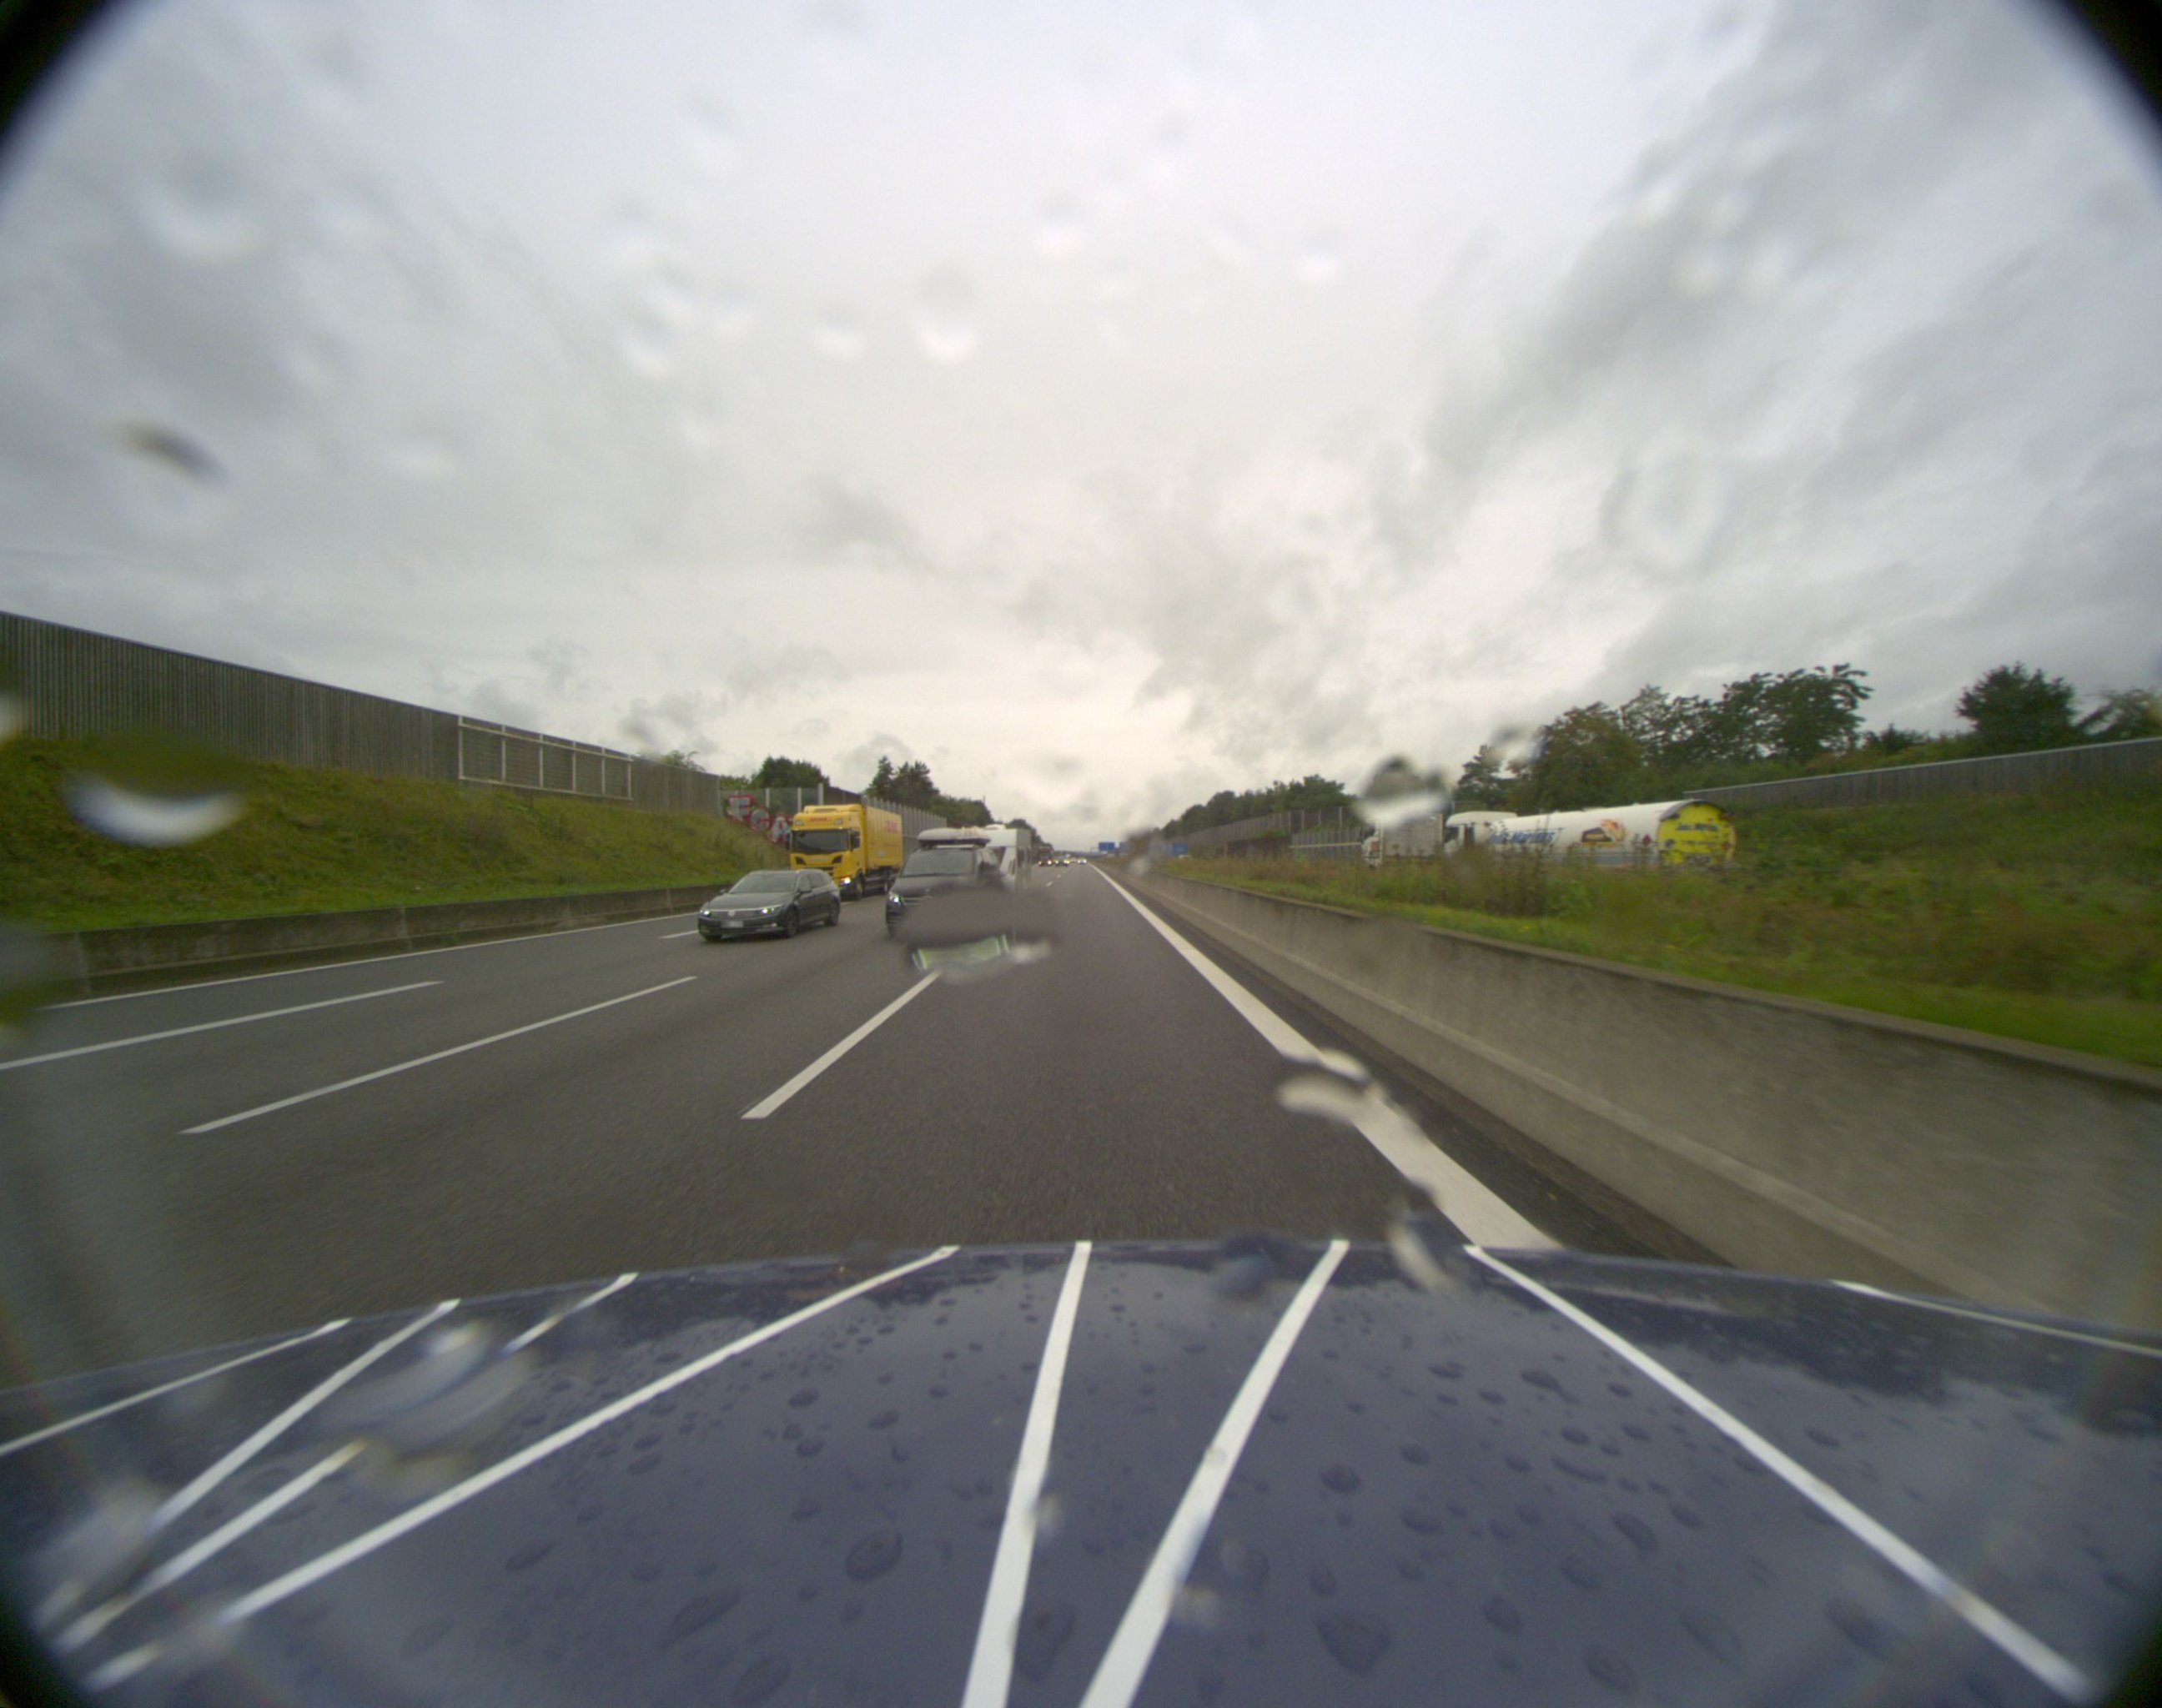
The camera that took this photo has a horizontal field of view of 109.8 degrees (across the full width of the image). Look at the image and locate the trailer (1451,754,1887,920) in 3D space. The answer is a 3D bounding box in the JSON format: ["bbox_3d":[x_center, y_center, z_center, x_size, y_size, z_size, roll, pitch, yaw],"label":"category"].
[{"bbox_3d":[13.487,-0.348,19.373,2.963,2.942,10.568,-2,0,1],"label":"trailer"}]

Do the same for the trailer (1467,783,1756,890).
[{"bbox_3d":[17.800,-0.513,26.958,2.618,2.971,10.795,-2,0,0],"label":"trailer"}]

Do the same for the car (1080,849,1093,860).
[{"bbox_3d":[1.265,0.149,171.574,2.680,2.340,5.807,-1,0,-2],"label":"car"}]

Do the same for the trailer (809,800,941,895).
[{"bbox_3d":[-10.349,-0.326,40.892,2.658,3.930,16.683,-2,0,-1],"label":"trailer"}]

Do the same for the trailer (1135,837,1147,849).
[{"bbox_3d":[19.515,-3.423,248.225,2.733,3.662,12.562,-1,0,0],"label":"trailer"}]

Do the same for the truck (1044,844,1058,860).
[{"bbox_3d":[-6.218,-0.336,155.905,2.617,3.218,4.632,-1,0,0],"label":"truck"}]

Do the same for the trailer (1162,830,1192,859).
[{"bbox_3d":[17.397,-1.672,138.814,3.225,4.857,13.524,-3,0,-1],"label":"trailer"}]

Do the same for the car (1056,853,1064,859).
[{"bbox_3d":[-6.140,0.494,223.876,1.998,1.747,4.000,-1,0,0],"label":"car"}]

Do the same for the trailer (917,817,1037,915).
[{"bbox_3d":[-3.043,0.320,24.361,2.728,2.627,7.511,-1,0,0],"label":"trailer"}]

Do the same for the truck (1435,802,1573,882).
[{"bbox_3d":[17.694,-0.483,32.231,2.628,3.002,5.612,-2,1,0],"label":"truck"}]

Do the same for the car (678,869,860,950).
[{"bbox_3d":[-6.925,1.155,17.640,1.944,1.419,5.289,-3,0,0],"label":"car"}]

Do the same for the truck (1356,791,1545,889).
[{"bbox_3d":[13.608,-0.488,29.106,2.963,3.049,8.727,-2,0,1],"label":"truck"}]

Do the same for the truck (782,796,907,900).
[{"bbox_3d":[-10.282,-0.257,34.342,2.693,3.935,9.324,-2,1,-1],"label":"truck"}]

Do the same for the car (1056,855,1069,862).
[{"bbox_3d":[-3.096,0.800,130.327,2.061,1.020,3.438,-2,0,0],"label":"car"}]

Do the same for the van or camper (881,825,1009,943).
[{"bbox_3d":[-2.925,0.596,17.708,1.895,2.256,5.679,-2,0,0],"label":"van or camper"}]
